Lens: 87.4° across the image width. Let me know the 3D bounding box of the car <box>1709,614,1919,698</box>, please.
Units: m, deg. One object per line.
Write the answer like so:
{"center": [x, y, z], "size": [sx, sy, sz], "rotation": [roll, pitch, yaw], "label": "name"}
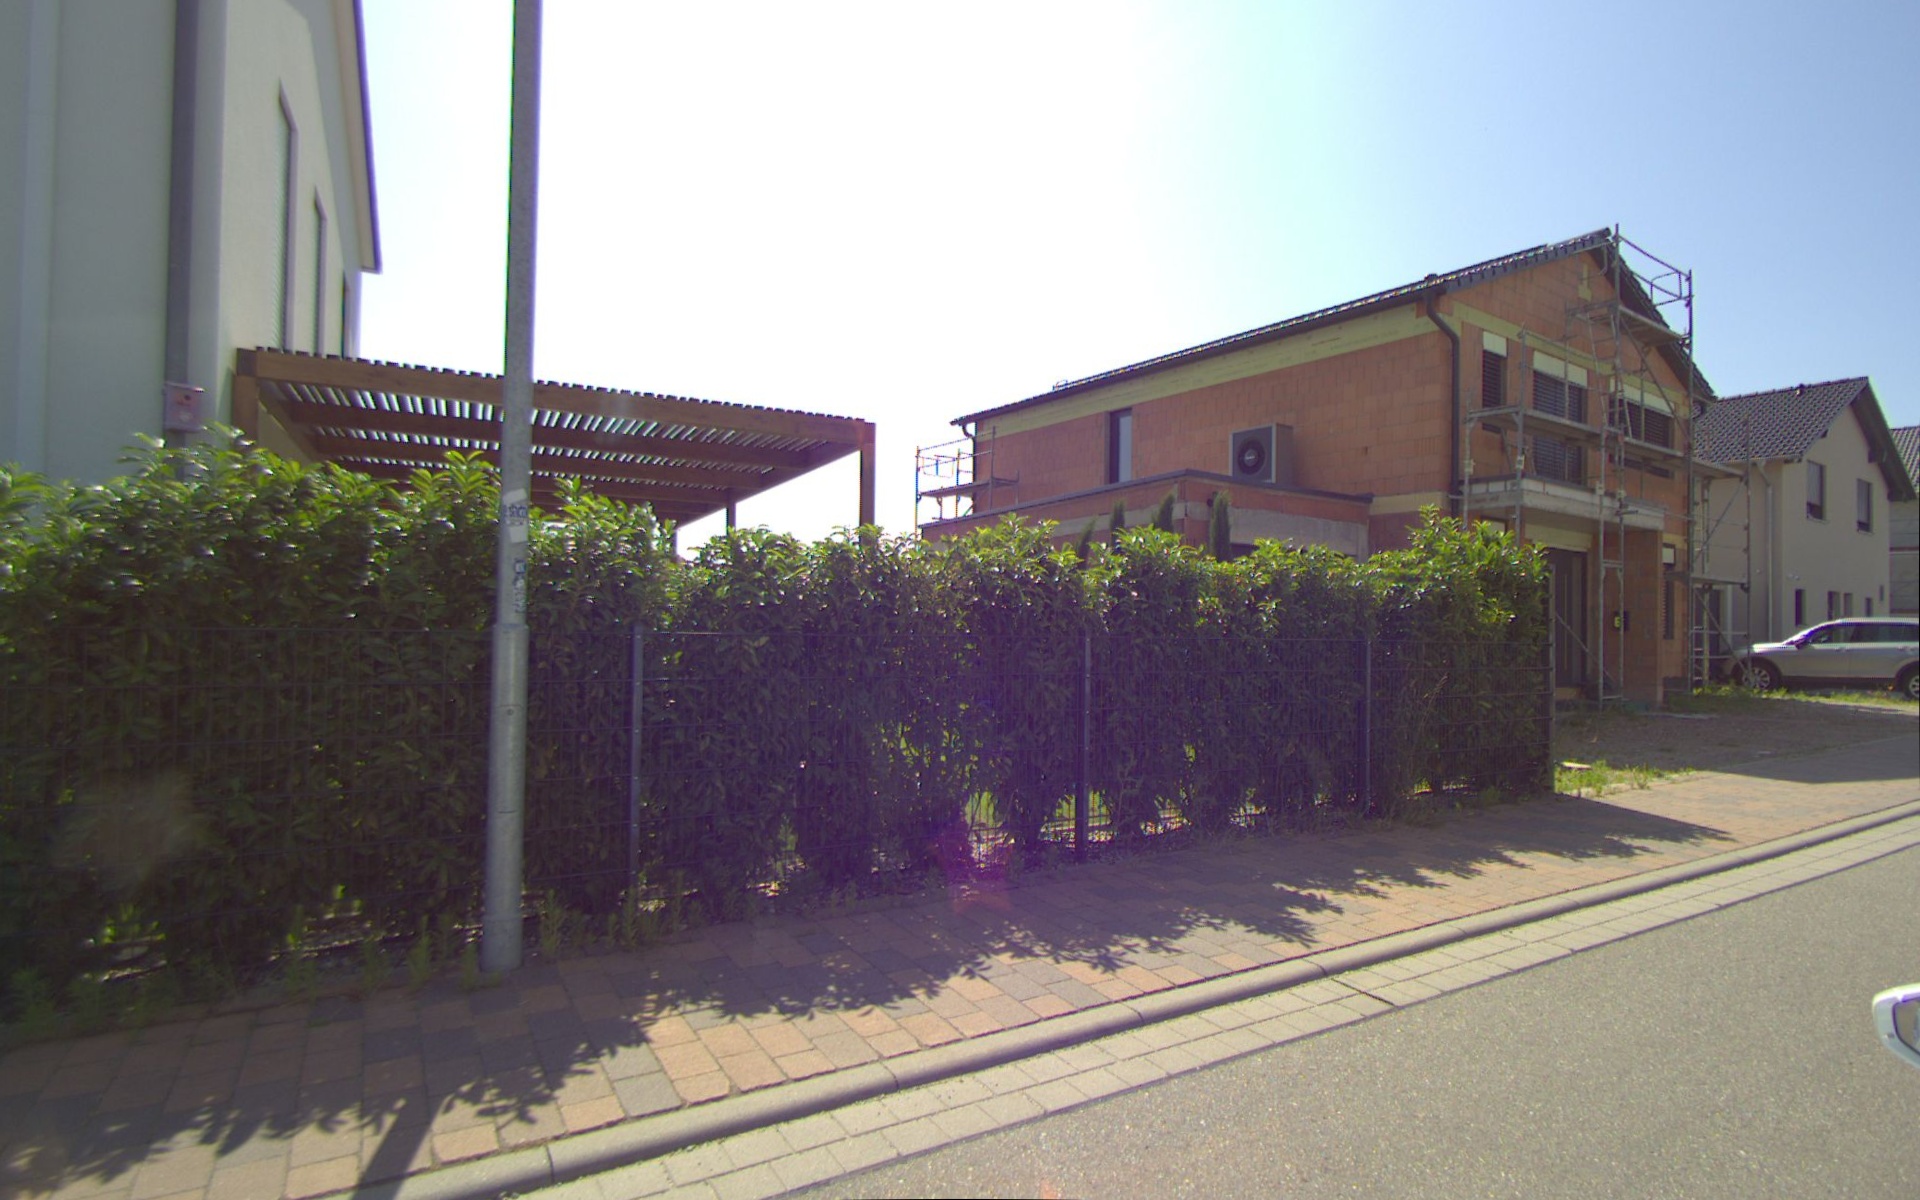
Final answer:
{"center": [18.629, 1.129, 21.007], "size": [1.982, 1.633, 4.391], "rotation": [1, -2, -38], "label": "car"}
